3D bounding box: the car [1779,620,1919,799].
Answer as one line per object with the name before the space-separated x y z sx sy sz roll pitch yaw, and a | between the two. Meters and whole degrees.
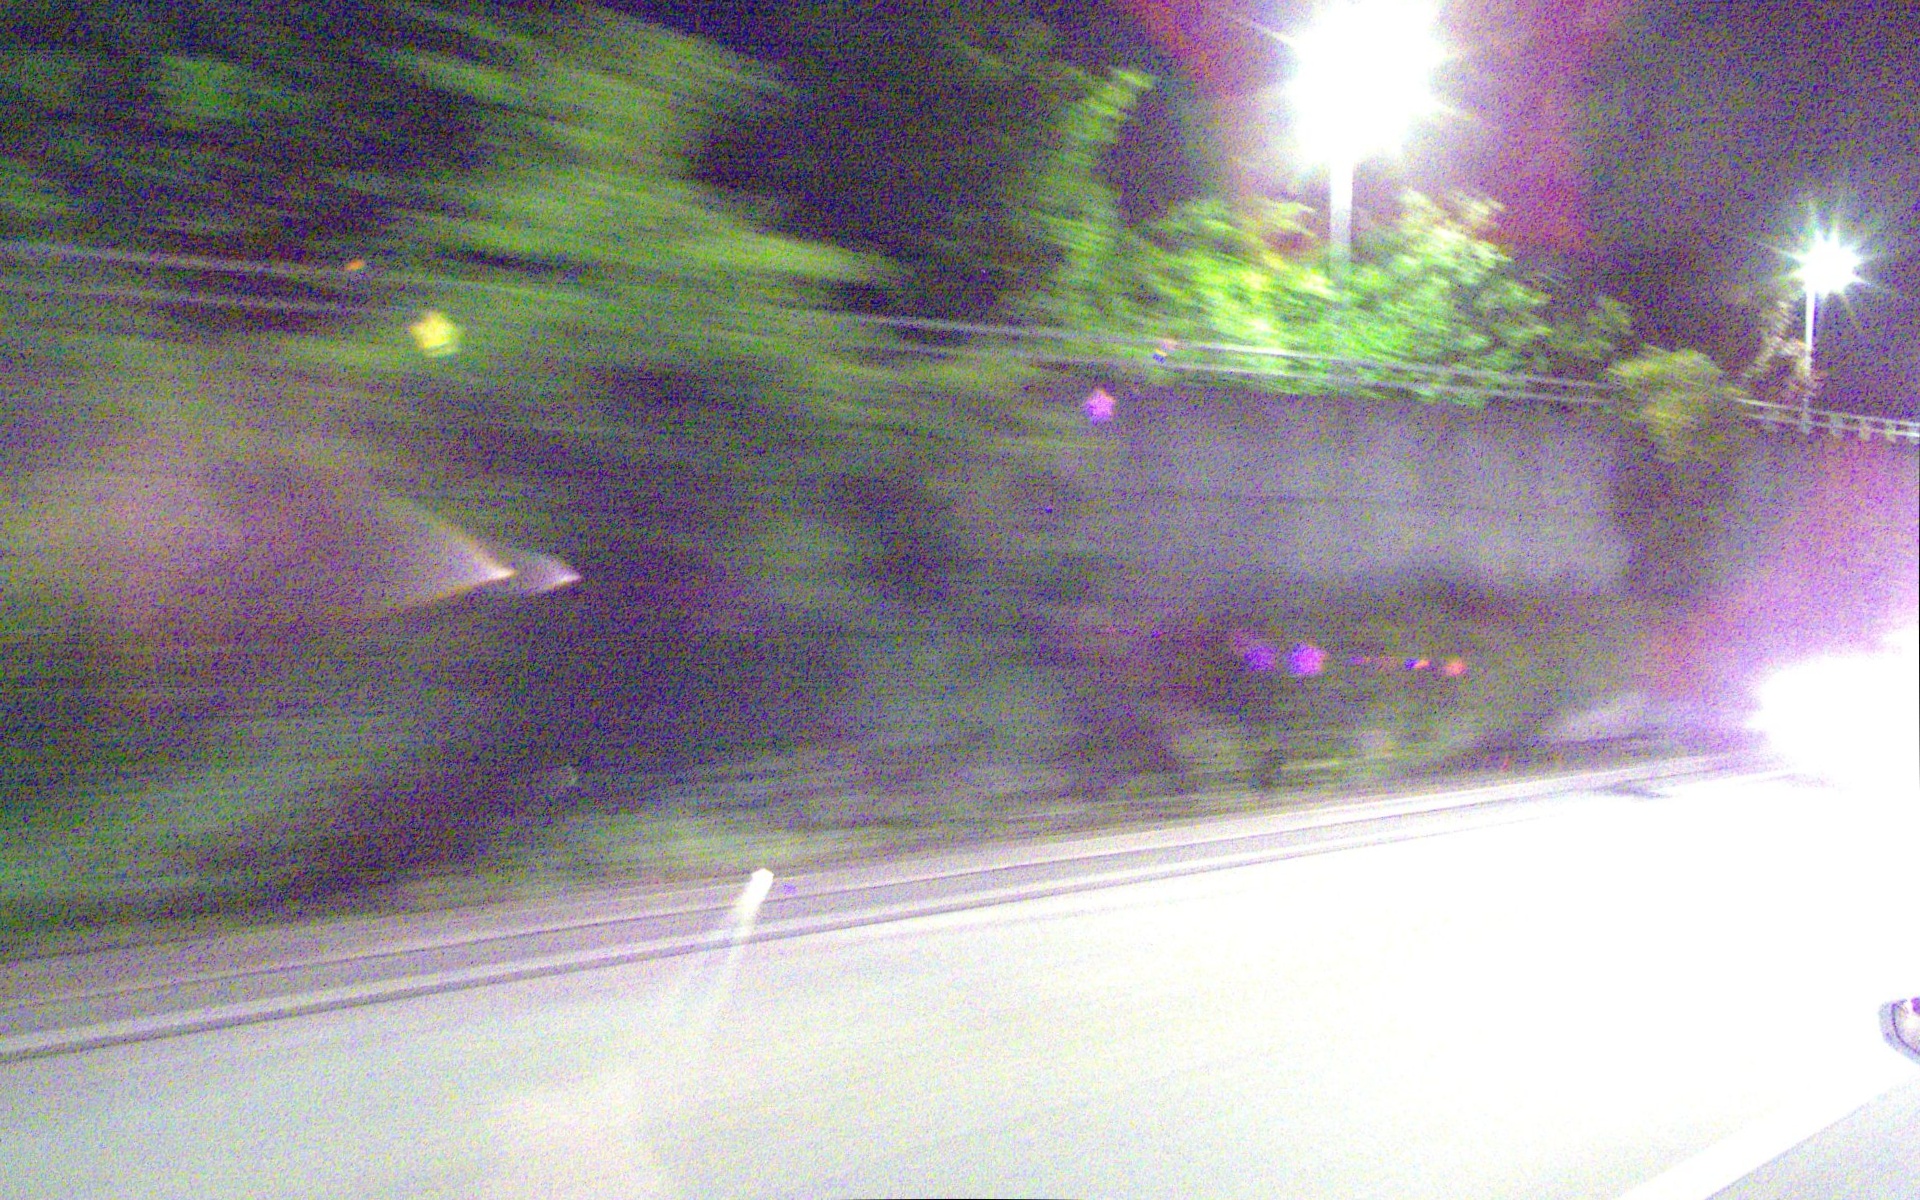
car | 9.940 1.006 9.853 3.957 1.530 1.848 2 -1 -33
